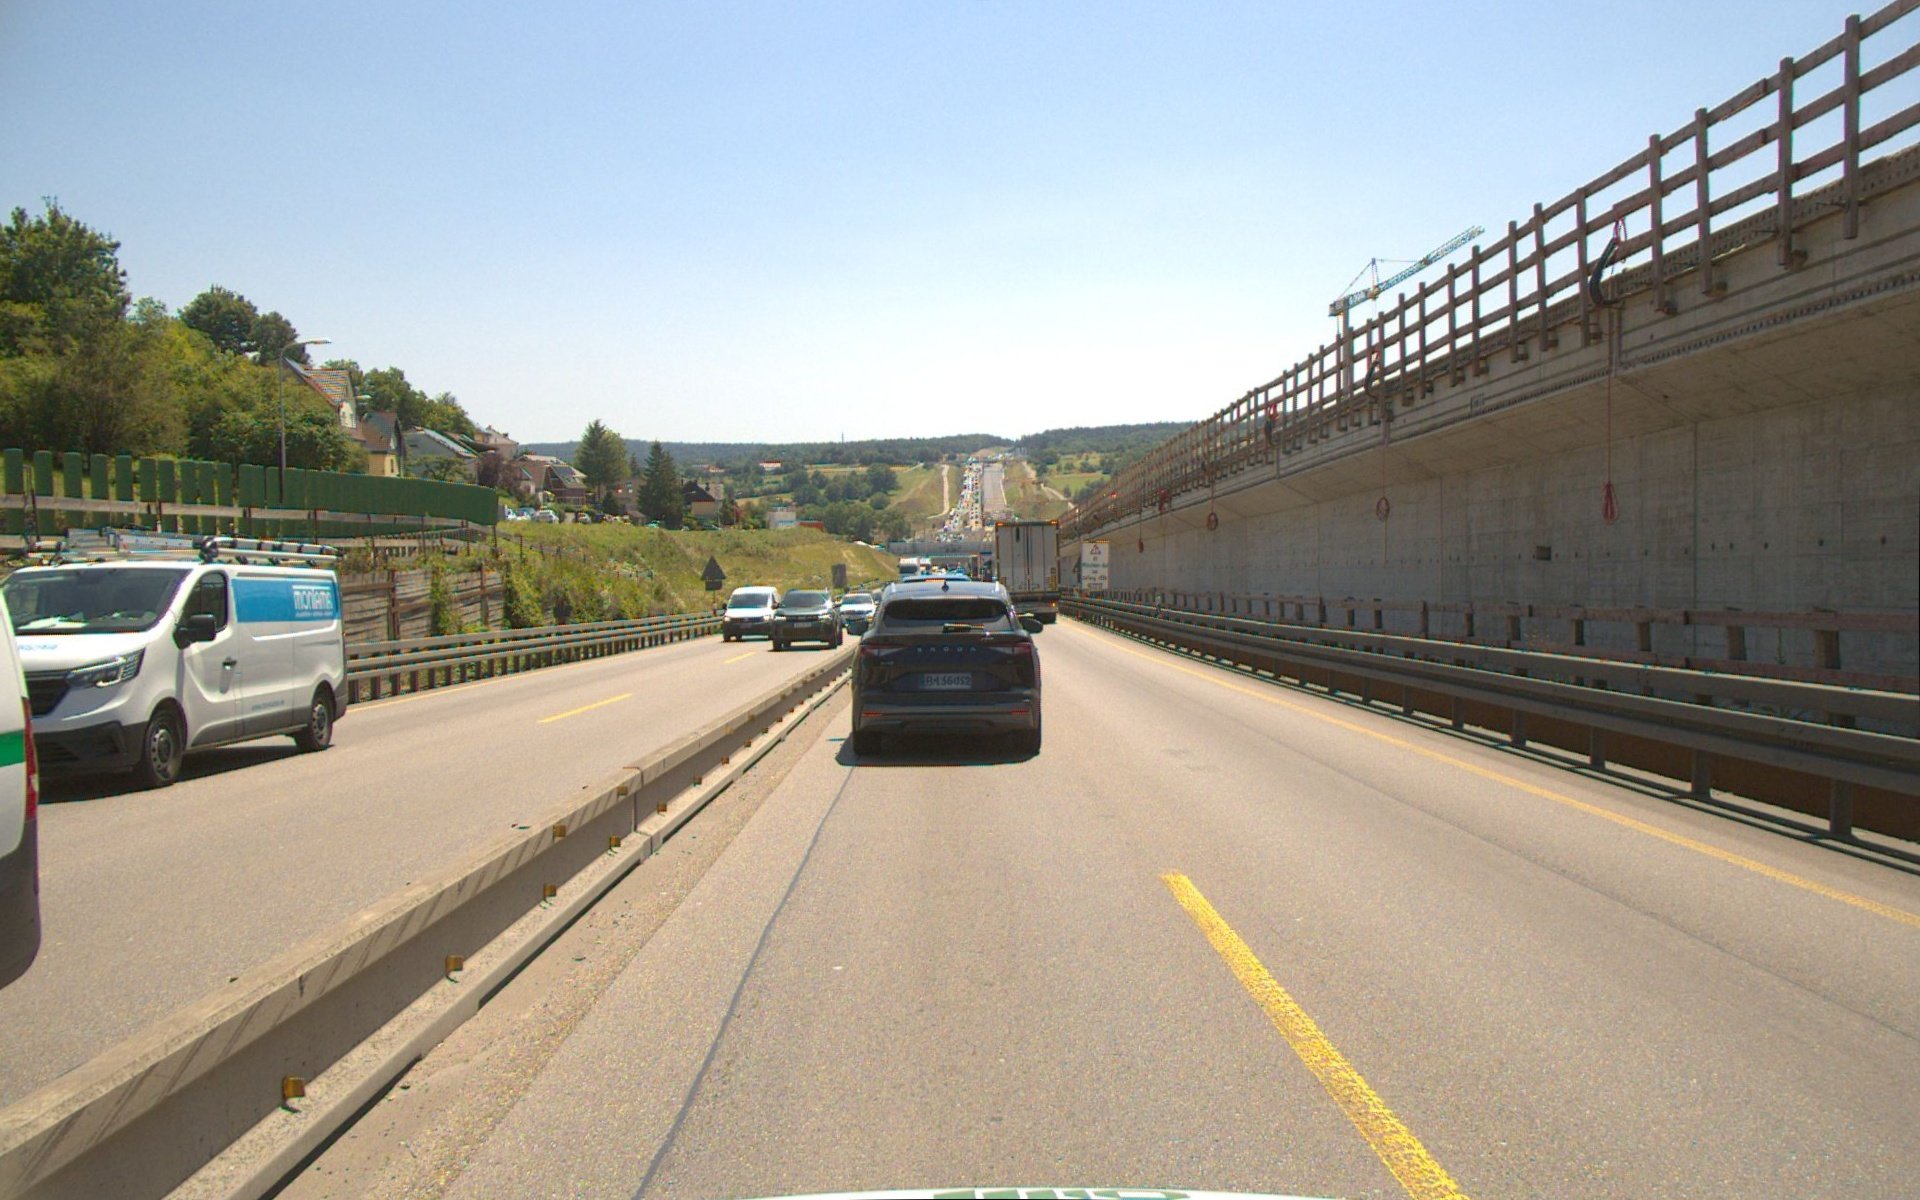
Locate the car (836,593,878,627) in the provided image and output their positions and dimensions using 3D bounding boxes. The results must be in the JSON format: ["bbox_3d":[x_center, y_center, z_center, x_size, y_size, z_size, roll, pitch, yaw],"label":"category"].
[{"bbox_3d":[-4.498,0.442,72.601,1.697,1.463,4.257,0,0,-1],"label":"car"}]

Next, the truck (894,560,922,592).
[{"bbox_3d":[-7.329,-3.313,230.499,3.121,4.312,6.473,-2,0,-8],"label":"truck"}]

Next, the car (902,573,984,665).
[{"bbox_3d":[-0.422,0.390,36.511,1.714,1.928,3.753,0,0,-2],"label":"car"}]

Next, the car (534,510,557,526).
[{"bbox_3d":[-40.783,-8.068,162.839,1.958,1.343,3.990,2,0,-11],"label":"car"}]

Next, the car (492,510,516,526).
[{"bbox_3d":[-37.392,-6.720,135.682,1.255,1.057,3.271,-2,1,-6],"label":"car"}]

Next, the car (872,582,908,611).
[{"bbox_3d":[-3.952,-0.172,94.478,1.573,1.471,4.671,-4,-1,2],"label":"car"}]

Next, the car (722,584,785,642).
[{"bbox_3d":[-7.132,0.444,57.393,1.564,1.866,4.752,-2,0,0],"label":"car"}]

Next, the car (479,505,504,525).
[{"bbox_3d":[-37.153,-6.742,131.126,1.702,1.422,3.779,0,0,-20],"label":"car"}]

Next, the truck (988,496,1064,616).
[{"bbox_3d":[2.705,-1.714,71.167,2.787,4.696,11.811,-1,0,0],"label":"truck"}]

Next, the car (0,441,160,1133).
[{"bbox_3d":[-3.724,0.522,2.903,2.113,1.939,5.325,0,0,-1],"label":"car"}]

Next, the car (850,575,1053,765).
[{"bbox_3d":[-0.103,0.610,16.530,1.746,1.625,3.754,-2,0,-1],"label":"car"}]

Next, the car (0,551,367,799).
[{"bbox_3d":[-7.500,0.582,15.752,1.787,1.959,5.243,0,0,0],"label":"car"}]

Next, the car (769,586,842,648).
[{"bbox_3d":[-4.371,0.456,47.298,1.738,1.662,4.099,-1,0,-1],"label":"car"}]

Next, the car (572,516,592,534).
[{"bbox_3d":[-41.732,-8.261,182.428,1.890,1.758,3.990,-2,1,-10],"label":"car"}]
